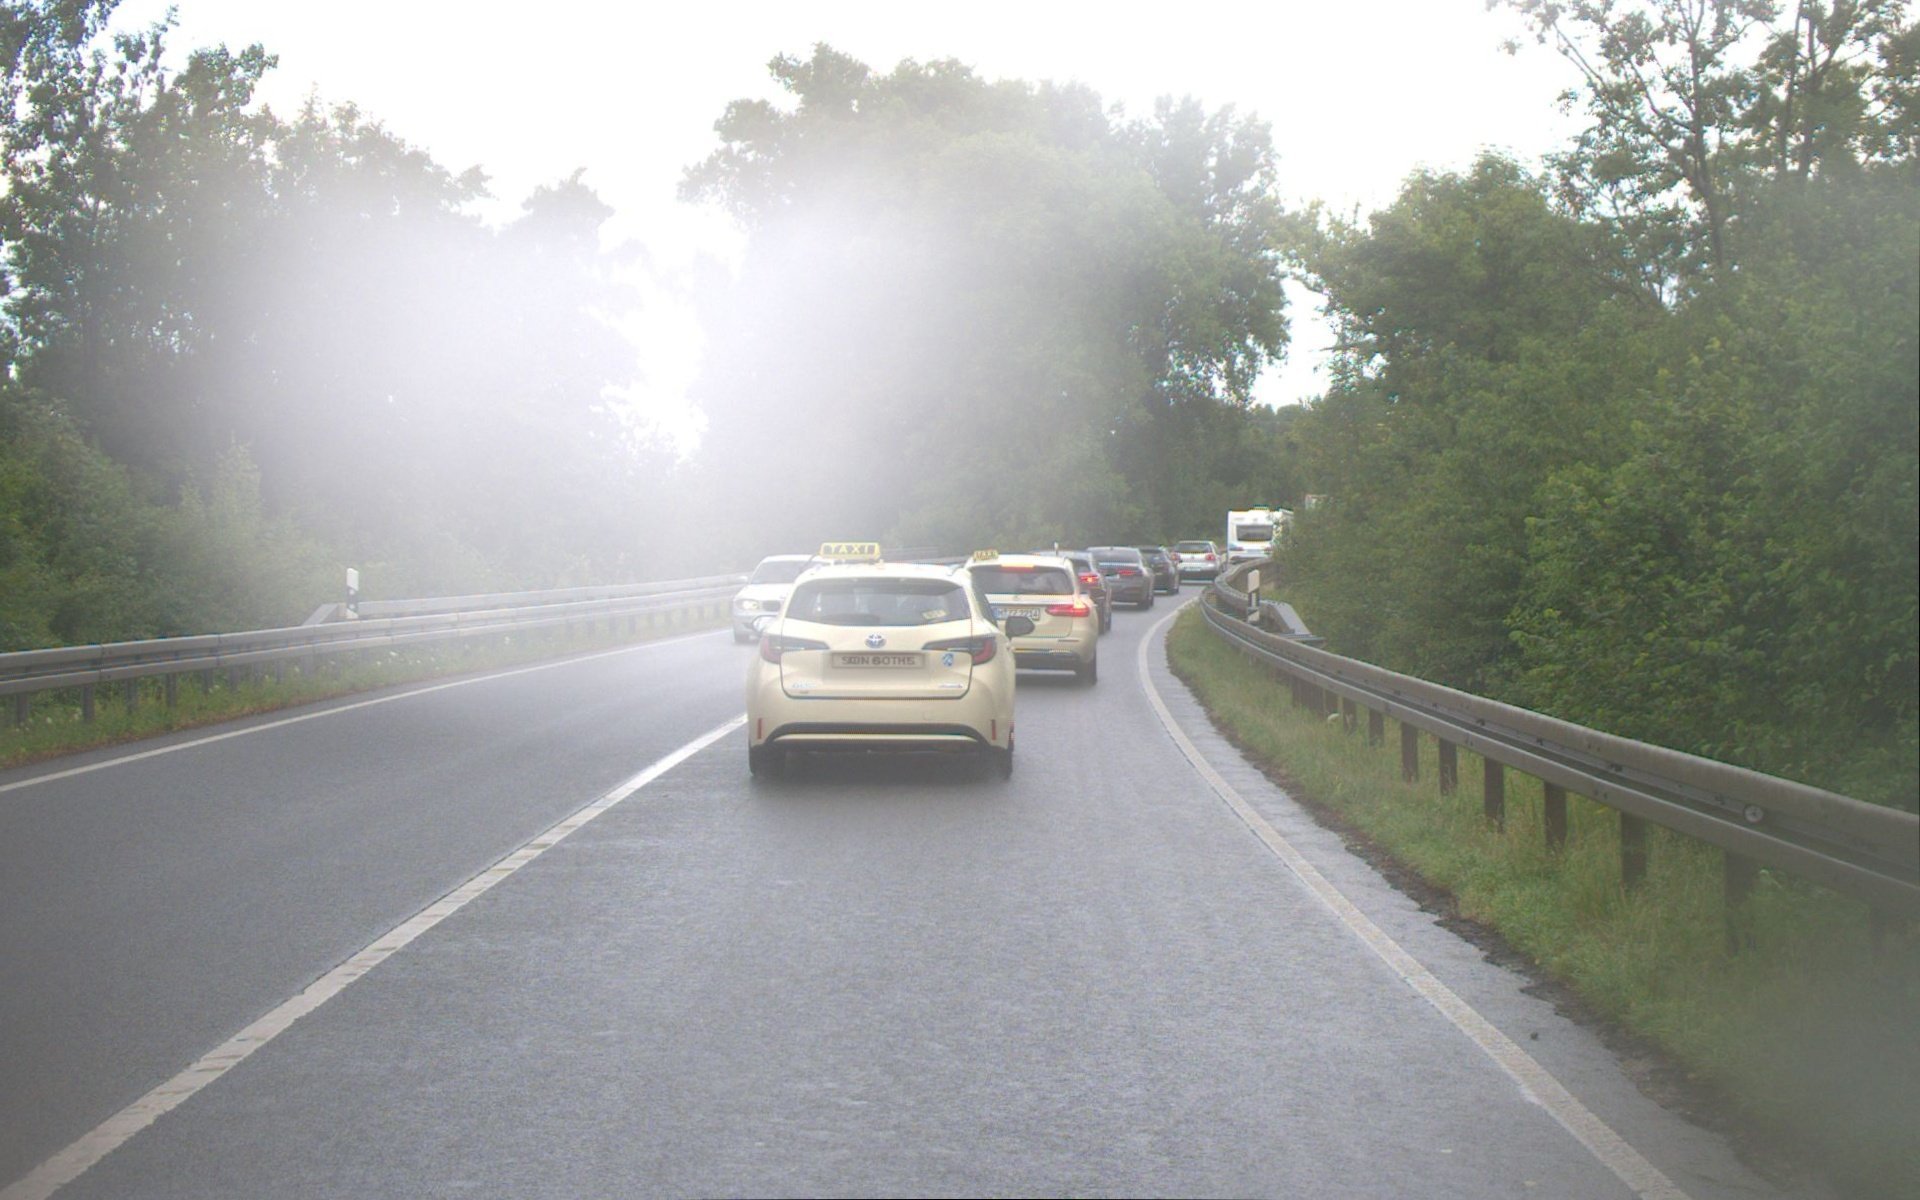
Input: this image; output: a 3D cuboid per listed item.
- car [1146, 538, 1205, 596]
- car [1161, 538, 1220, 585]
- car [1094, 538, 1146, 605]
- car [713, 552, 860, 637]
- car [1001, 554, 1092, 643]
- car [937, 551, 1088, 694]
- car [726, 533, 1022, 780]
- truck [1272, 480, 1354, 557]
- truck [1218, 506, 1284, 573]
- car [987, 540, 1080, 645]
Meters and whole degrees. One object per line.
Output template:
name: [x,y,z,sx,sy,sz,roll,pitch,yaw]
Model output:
car: [6.069,-0.911,96.570,1.616,1.607,3.621,0,0,4]
car: [7.826,-1.301,116.454,1.770,1.541,3.813,0,0,7]
car: [3.775,-0.663,81.053,1.167,1.541,2.604,0,0,4]
car: [-2.818,-0.084,56.632,1.813,1.350,3.999,0,0,6]
car: [1.597,-0.006,62.616,1.611,1.541,3.813,0,-1,2]
car: [0.606,0.254,39.983,1.667,1.575,3.892,0,0,1]
car: [-0.515,0.362,24.067,1.834,1.575,4.156,0,0,2]
truck: [17.595,-4.030,171.029,3.109,3.668,6.995,0,0,14]
truck: [12.274,-2.517,145.477,2.550,2.704,7.534,0,0,3]
car: [1.094,-0.115,52.307,1.300,1.541,3.260,0,0,-1]
